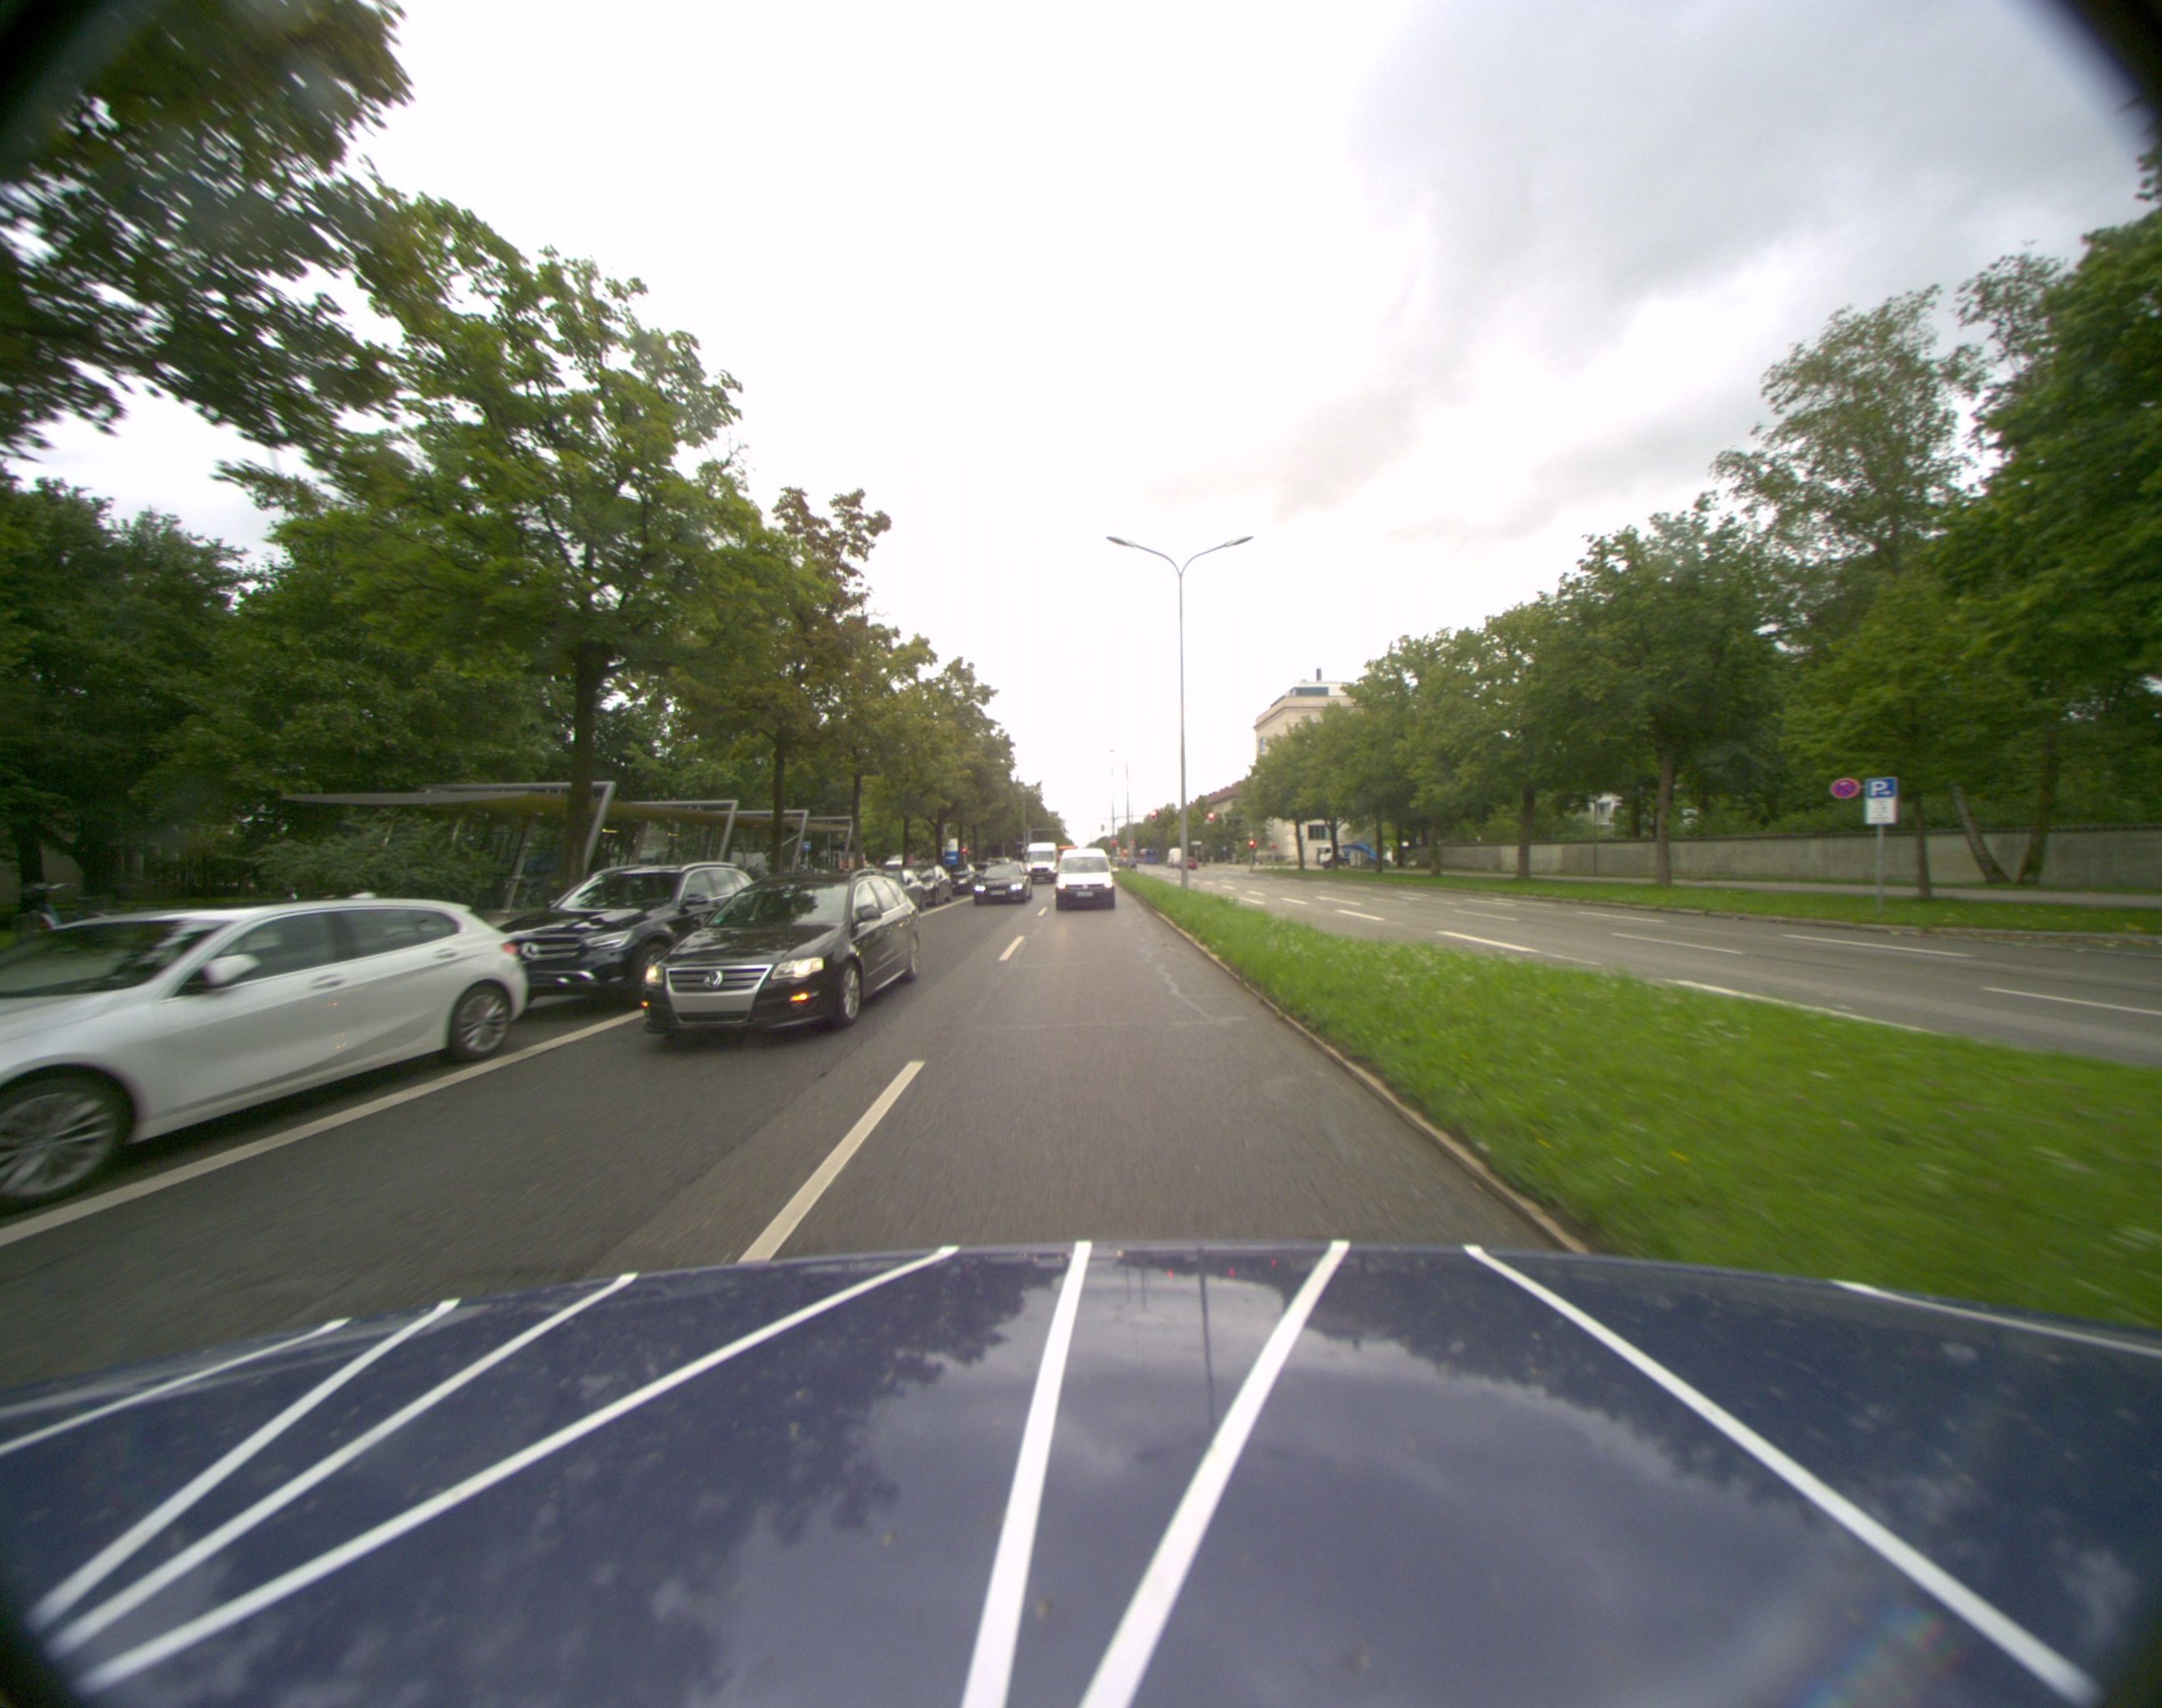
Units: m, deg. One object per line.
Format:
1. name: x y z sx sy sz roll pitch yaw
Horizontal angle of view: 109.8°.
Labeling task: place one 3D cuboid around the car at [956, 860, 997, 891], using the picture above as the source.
1. car: -5.645 1.125 41.505 1.725 1.525 4.398 -1 0 -2

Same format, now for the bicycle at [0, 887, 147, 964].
1. bicycle: -18.160 1.250 13.410 2.548 1.273 0.647 -1 1 1

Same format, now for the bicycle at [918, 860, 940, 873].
1. bicycle: -13.755 1.154 68.930 1.946 1.205 0.567 0 1 -11

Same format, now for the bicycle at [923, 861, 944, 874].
1. bicycle: -13.235 1.186 68.345 1.812 1.136 0.567 0 1 -11

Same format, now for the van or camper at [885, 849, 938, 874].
1. van or camper: -16.380 0.672 73.862 2.144 2.283 6.207 -1 0 18

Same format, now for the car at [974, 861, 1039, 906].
1. car: -2.678 1.040 28.326 1.819 1.421 4.671 -2 0 1

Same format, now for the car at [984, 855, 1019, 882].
1. car: -5.405 0.984 52.138 1.751 1.714 4.906 -2 0 1

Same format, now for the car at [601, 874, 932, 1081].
1. car: -2.981 1.057 8.447 1.752 1.466 4.671 -2 0 -1

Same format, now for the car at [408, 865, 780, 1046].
1. car: -5.713 1.037 9.795 1.791 1.665 4.595 -1 0 0

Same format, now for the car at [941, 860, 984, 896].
1. car: -5.641 1.107 36.530 1.546 1.525 4.089 -2 0 -2

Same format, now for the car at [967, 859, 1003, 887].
1. car: -5.846 1.099 46.686 1.706 1.499 4.502 -3 0 -2

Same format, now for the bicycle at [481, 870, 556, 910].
1. bicycle: -19.603 1.225 26.552 0.646 1.273 2.550 -1 0 1

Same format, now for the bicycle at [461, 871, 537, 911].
1. bicycle: -20.307 1.254 26.591 0.646 1.273 2.550 -1 0 1

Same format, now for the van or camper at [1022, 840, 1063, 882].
1. van or camper: -2.444 0.450 50.250 2.183 2.546 7.074 -1 0 1

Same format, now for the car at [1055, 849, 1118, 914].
1. car: 0.127 0.784 24.104 1.752 1.809 4.670 -1 0 -1

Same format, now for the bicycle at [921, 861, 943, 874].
1. bicycle: -13.124 1.183 66.876 1.809 1.136 0.568 1 1 10

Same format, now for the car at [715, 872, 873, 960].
1. car: -5.741 1.163 15.796 1.637 1.430 4.304 -1 0 0

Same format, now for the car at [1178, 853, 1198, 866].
1. car: 12.720 0.637 90.536 1.747 1.443 4.657 1 0 1

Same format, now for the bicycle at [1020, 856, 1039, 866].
1. bicycle: -5.434 0.746 80.471 1.951 1.075 0.746 -1 1 -35

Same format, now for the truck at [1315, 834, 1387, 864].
1. truck: 33.059 -0.607 93.349 7.817 3.468 2.772 -1 0 2

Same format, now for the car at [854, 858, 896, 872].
1. car: -24.030 1.257 88.683 4.312 1.488 1.887 -1 0 -2

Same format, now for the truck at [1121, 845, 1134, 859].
1. truck: 11.621 -0.534 188.805 2.787 3.336 7.266 -1 0 0

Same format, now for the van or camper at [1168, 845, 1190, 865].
1. van or camper: 13.127 0.129 102.151 2.183 2.631 6.951 1 0 1

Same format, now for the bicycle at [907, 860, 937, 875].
1. bicycle: -12.990 1.128 62.172 2.344 1.151 0.585 1 0 0

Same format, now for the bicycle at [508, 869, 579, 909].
1. bicycle: -18.850 1.193 26.740 0.646 1.273 2.550 -1 0 1

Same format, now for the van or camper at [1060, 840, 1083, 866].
1. van or camper: -1.180 -0.095 99.840 2.780 3.219 7.074 -1 0 1

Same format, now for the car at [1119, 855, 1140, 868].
1. car: 5.897 0.908 92.464 1.645 1.478 3.777 -1 0 -10

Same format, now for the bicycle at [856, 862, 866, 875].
1. bicycle: -22.842 1.480 78.866 0.704 1.243 2.110 -1 0 -25

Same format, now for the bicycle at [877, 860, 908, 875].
1. bicycle: -15.250 1.115 61.508 2.344 1.151 0.585 1 0 0

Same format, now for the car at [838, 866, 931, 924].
1. car: -5.744 1.145 22.681 1.638 1.445 4.078 -1 0 1

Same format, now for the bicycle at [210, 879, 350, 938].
1. bicycle: -18.525 1.240 17.597 2.548 1.273 0.647 -1 1 1

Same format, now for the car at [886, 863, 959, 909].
1. car: -5.761 1.118 28.029 1.722 1.500 4.223 -1 0 1

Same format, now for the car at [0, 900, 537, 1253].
1. car: -5.887 1.166 4.784 1.657 1.425 4.482 -1 0 0

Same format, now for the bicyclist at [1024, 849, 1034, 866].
1. bicyclist: -5.509 0.399 80.421 0.829 1.754 0.744 -2 1 -35
